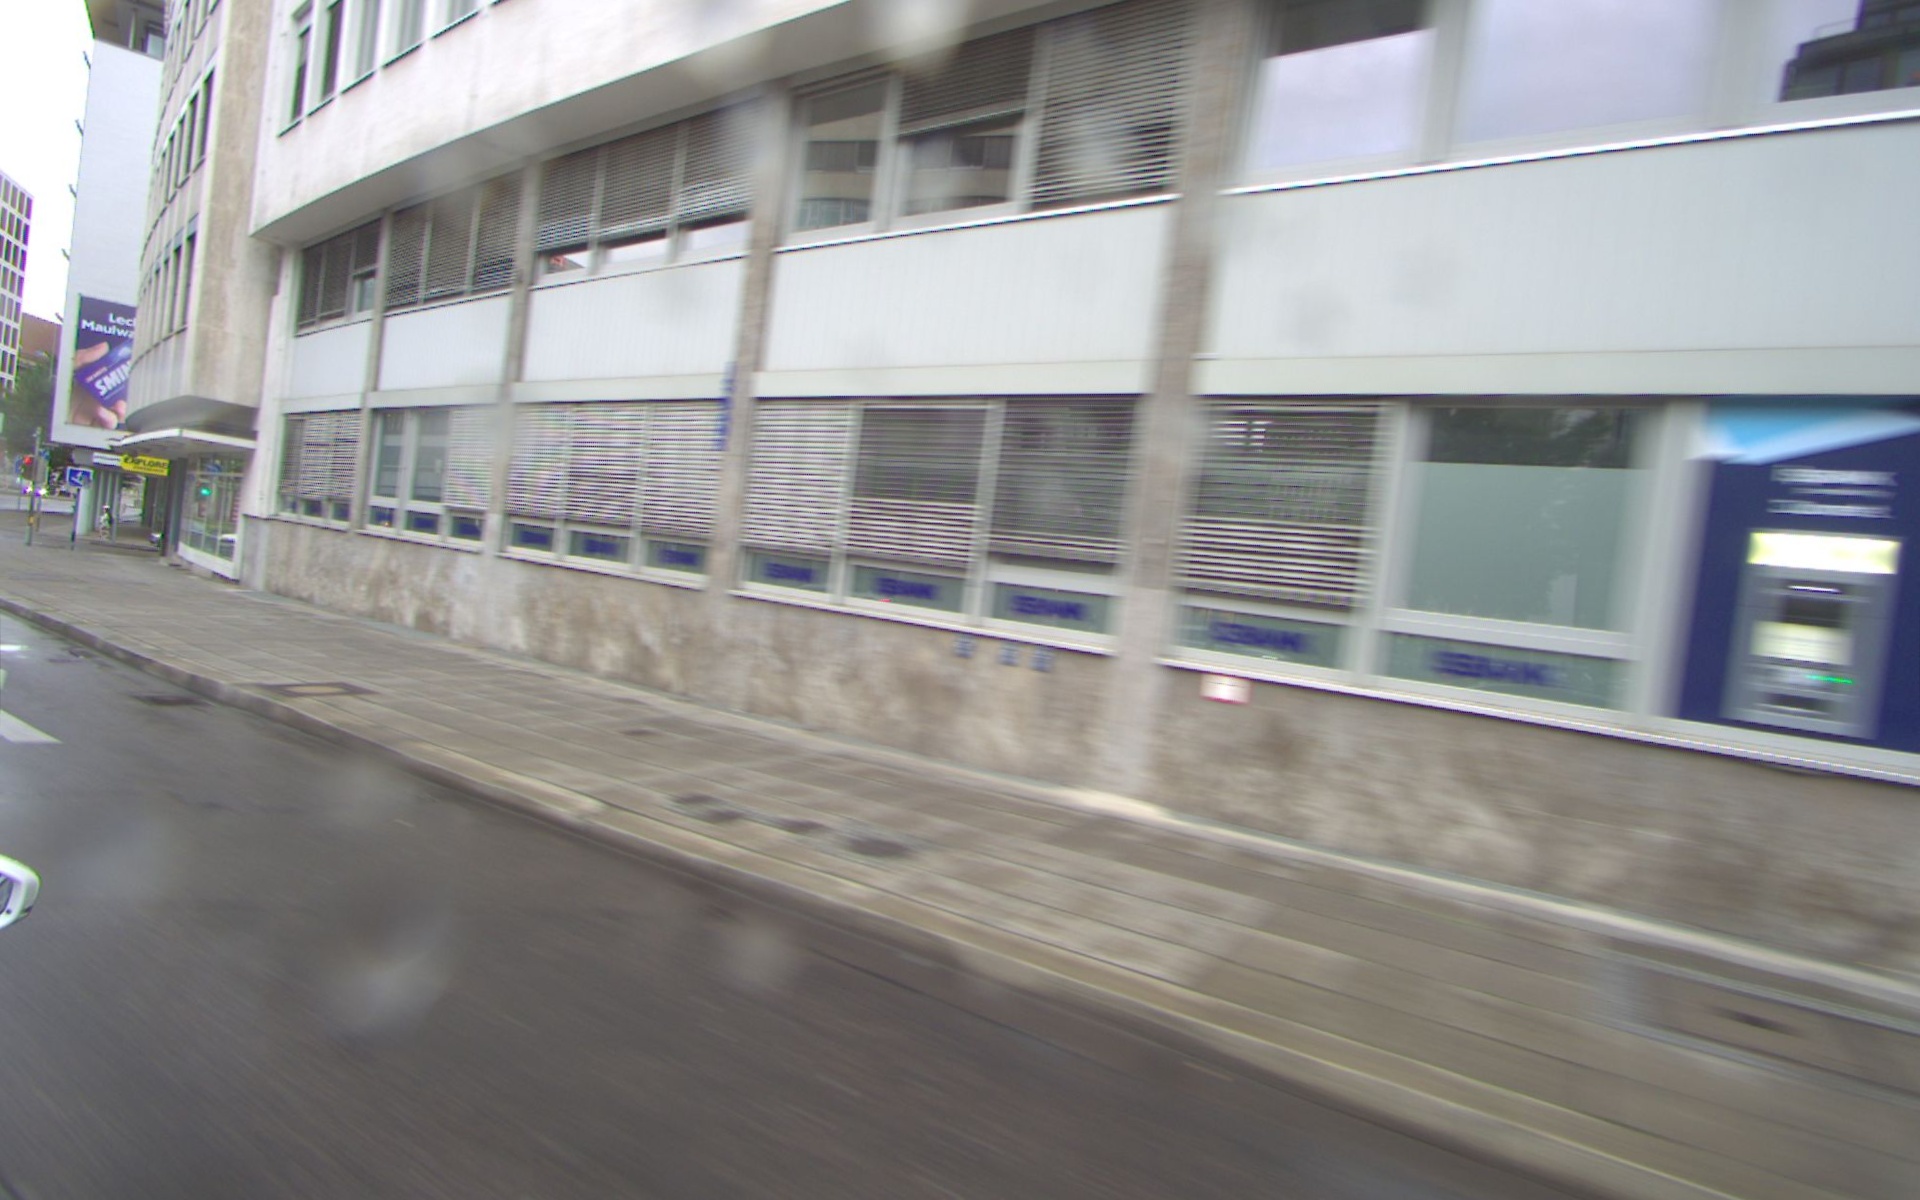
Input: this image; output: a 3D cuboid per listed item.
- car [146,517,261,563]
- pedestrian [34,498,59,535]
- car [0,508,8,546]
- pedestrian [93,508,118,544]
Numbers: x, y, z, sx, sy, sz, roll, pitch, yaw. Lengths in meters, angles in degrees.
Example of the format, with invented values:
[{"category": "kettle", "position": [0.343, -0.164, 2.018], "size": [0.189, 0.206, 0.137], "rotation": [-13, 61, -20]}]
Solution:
[{"category": "car", "position": [-37.488, -2.945, 49.927], "size": [4.326, 1.527, 1.896], "rotation": [10, -2, -39]}, {"category": "pedestrian", "position": [-45.212, -4.117, 49.802], "size": [0.724, 1.688, 0.683], "rotation": [7, -1, -41]}, {"category": "car", "position": [-47.237, -3.763, 46.372], "size": [4.287, 1.786, 2.050], "rotation": [9, -2, -12]}, {"category": "pedestrian", "position": [-43.419, -3.767, 51.124], "size": [0.761, 1.698, 0.723], "rotation": [7, 0, -34]}]
